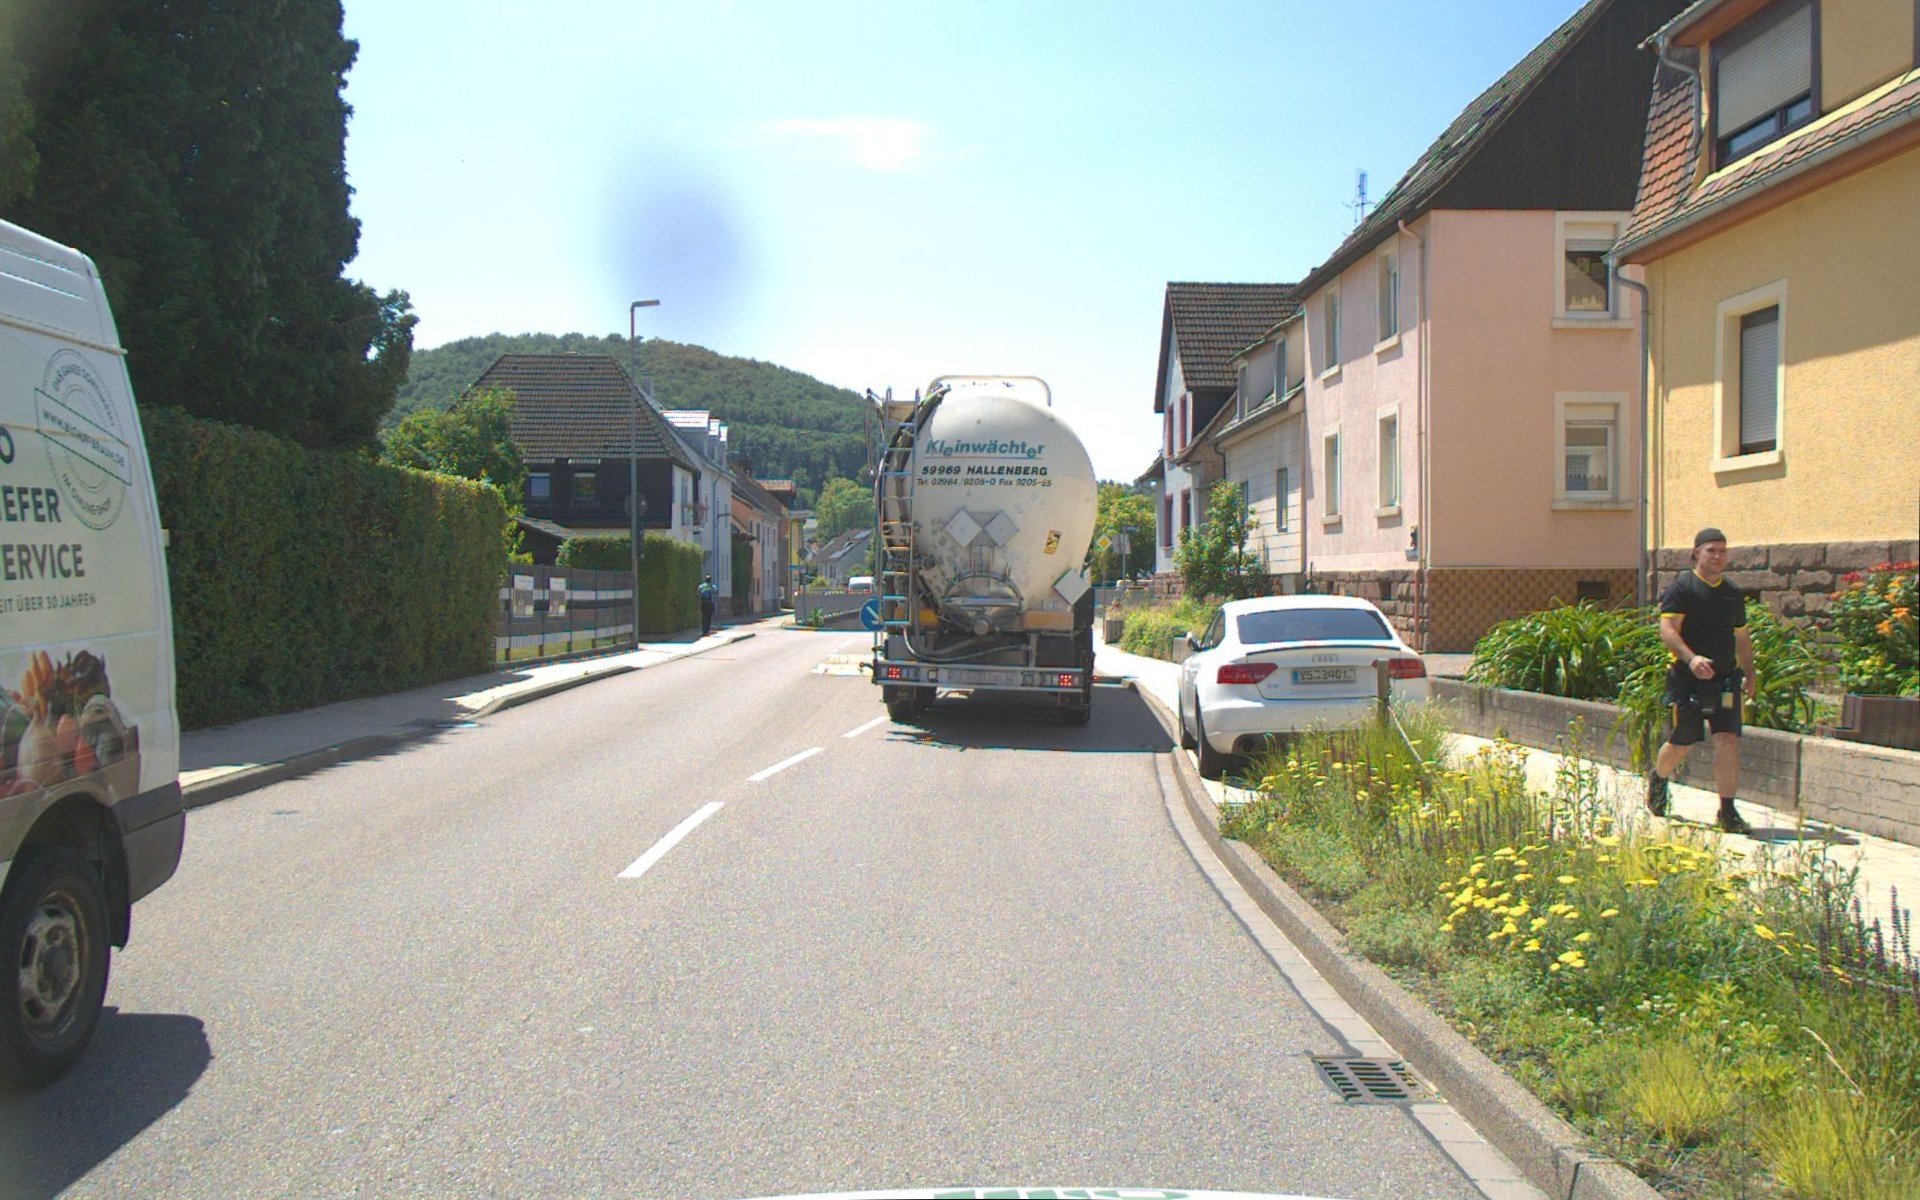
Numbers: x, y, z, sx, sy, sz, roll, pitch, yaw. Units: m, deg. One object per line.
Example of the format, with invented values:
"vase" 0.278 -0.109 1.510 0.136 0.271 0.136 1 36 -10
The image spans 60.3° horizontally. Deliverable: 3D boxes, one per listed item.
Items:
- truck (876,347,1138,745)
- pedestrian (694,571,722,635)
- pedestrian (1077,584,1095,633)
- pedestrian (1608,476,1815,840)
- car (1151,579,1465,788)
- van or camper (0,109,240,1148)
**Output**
"truck" 0.288 -0.585 22.807 2.695 4.127 10.884 1 0 -2
"pedestrian" -7.414 0.099 48.658 0.698 1.855 0.897 2 -1 -6
"pedestrian" 4.474 0.293 58.763 0.559 1.723 0.721 2 -1 2
"pedestrian" 4.480 0.335 9.928 0.731 2.049 1.033 2 -1 -1
"car" 2.774 0.646 14.234 1.720 1.443 4.632 -2 -1 0
"van or camper" -3.498 0.060 3.036 1.997 2.761 5.821 0 -1 -2
